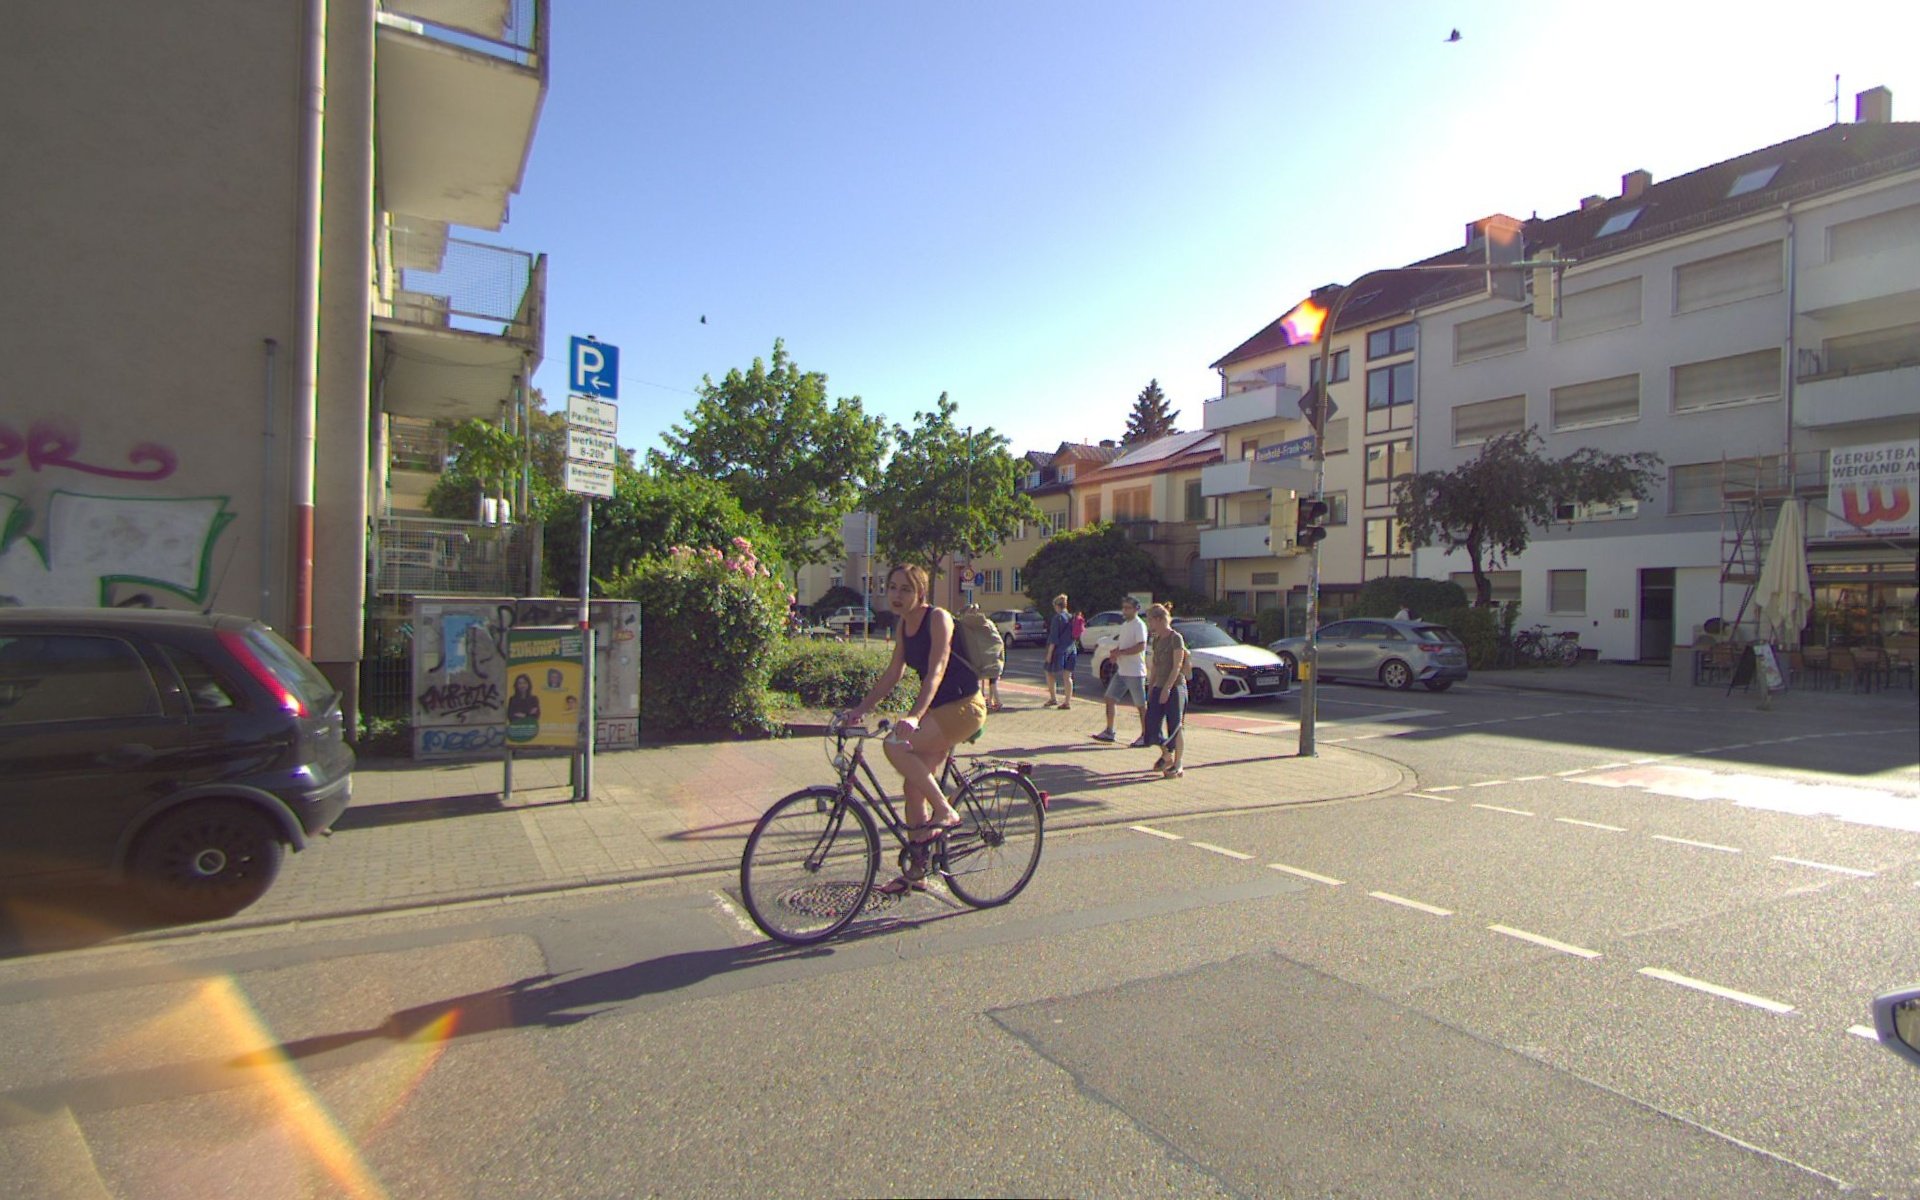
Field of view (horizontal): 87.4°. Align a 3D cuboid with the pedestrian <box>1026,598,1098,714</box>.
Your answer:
[{"bbox_3d":[1.549,0.825,15.316,0.570,1.705,0.957,1,0,-39],"label":"pedestrian"}]

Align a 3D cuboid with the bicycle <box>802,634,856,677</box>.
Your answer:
[{"bbox_3d":[-3.869,1.632,29.735,1.550,1.177,0.447,1,14,-7],"label":"bicycle"}]

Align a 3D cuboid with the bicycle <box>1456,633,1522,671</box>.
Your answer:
[{"bbox_3d":[14.376,1.394,27.339,0.506,0.952,1.583,1,-1,-27],"label":"bicycle"}]

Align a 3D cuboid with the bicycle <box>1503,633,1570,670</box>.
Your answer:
[{"bbox_3d":[15.868,1.406,27.664,0.506,0.952,1.583,1,-1,-27],"label":"bicycle"}]

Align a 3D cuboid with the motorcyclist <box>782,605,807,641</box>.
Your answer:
[{"bbox_3d":[-6.364,0.867,38.629,0.747,1.374,0.787,-1,1,-27],"label":"motorcyclist"}]

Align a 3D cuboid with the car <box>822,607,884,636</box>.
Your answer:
[{"bbox_3d":[-5.847,1.146,54.440,1.893,1.449,3.968,-2,1,-30],"label":"car"}]

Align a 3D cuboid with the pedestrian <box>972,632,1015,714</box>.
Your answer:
[{"bbox_3d":[0.493,1.068,14.862,0.383,1.161,0.526,1,0,-35],"label":"pedestrian"}]

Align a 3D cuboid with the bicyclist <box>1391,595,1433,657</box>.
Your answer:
[{"bbox_3d":[11.728,0.667,26.082,0.549,1.569,0.808,1,0,-30],"label":"bicyclist"}]

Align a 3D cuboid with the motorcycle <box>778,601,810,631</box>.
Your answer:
[{"bbox_3d":[-6.394,0.607,38.692,0.739,1.149,1.672,-1,0,-26],"label":"motorcycle"}]

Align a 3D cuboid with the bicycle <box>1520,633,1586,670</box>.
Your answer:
[{"bbox_3d":[16.583,1.428,28.114,0.506,0.952,1.583,1,-1,-27],"label":"bicycle"}]

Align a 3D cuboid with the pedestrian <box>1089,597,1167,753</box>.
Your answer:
[{"bbox_3d":[1.912,0.830,11.452,0.660,1.711,0.572,1,0,-23],"label":"pedestrian"}]

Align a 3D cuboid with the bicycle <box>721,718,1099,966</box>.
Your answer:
[{"bbox_3d":[-0.202,1.099,4.925,1.804,0.914,0.540,1,0,-30],"label":"bicycle"}]

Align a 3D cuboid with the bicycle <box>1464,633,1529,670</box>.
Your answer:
[{"bbox_3d":[14.834,1.403,27.822,0.506,0.952,1.583,1,-1,-27],"label":"bicycle"}]

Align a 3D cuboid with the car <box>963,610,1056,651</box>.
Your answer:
[{"bbox_3d":[1.907,1.164,39.935,1.893,1.449,3.968,-2,1,-30],"label":"car"}]

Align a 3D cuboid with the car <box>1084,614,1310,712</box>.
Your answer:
[{"bbox_3d":[4.376,1.093,19.203,1.909,1.455,4.238,-3,2,-27],"label":"car"}]

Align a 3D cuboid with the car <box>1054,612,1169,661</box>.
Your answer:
[{"bbox_3d":[5.148,1.194,34.625,1.893,1.539,3.968,0,0,-30],"label":"car"}]

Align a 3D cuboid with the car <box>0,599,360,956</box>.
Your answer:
[{"bbox_3d":[-5.051,0.755,4.705,3.813,1.468,1.682,1,2,-31],"label":"car"}]

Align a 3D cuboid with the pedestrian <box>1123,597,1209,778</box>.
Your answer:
[{"bbox_3d":[1.900,0.780,9.269,0.556,1.602,0.529,1,0,-29],"label":"pedestrian"}]

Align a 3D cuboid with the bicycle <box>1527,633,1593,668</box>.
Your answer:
[{"bbox_3d":[17.086,1.424,28.644,0.506,0.952,1.583,1,-1,-27],"label":"bicycle"}]

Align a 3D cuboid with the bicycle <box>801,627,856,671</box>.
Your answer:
[{"bbox_3d":[-3.821,1.433,29.156,1.550,1.177,0.447,1,14,-7],"label":"bicycle"}]

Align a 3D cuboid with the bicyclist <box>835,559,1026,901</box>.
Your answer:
[{"bbox_3d":[-0.148,0.591,4.949,0.765,1.541,0.540,1,0,-30],"label":"bicyclist"}]

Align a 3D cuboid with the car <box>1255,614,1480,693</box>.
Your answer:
[{"bbox_3d":[8.591,1.068,21.493,1.825,1.453,4.134,1,-1,-36],"label":"car"}]
